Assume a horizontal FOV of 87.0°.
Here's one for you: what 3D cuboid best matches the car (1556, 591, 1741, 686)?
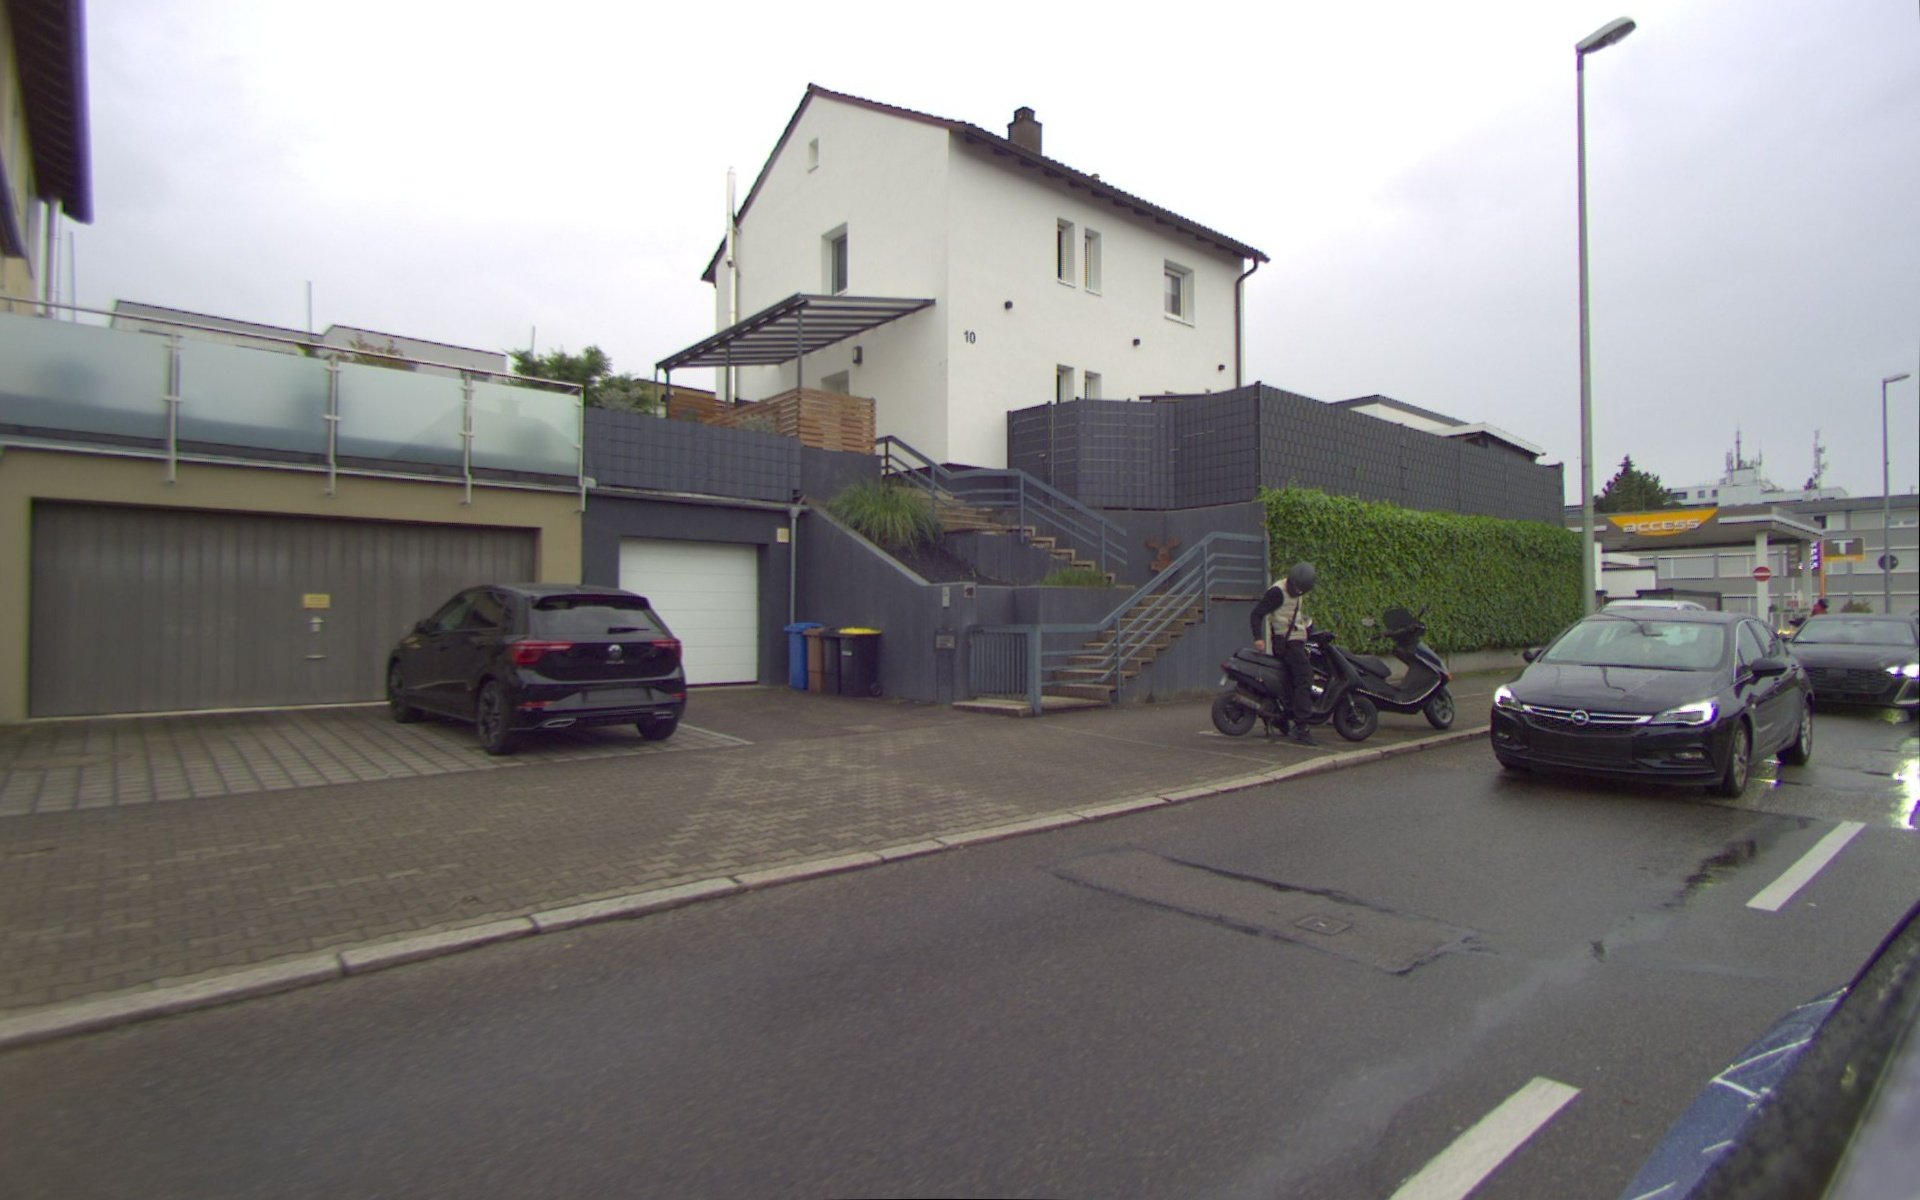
[{"bbox_3d":[12.615,0.628,18.438,4.455,1.529,1.703,0,-1,-41],"label":"car"}]

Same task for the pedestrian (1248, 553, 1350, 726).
[{"bbox_3d":[3.377,0.387,10.122,0.818,1.671,0.621,0,-1,5],"label":"pedestrian"}]

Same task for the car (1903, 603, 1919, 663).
[{"bbox_3d":[26.514,0.842,26.758,3.929,1.538,1.871,0,-1,-40],"label":"car"}]

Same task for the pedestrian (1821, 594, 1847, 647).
[{"bbox_3d":[28.410,0.663,32.918,0.582,1.677,0.603,-1,-1,39],"label":"pedestrian"}]

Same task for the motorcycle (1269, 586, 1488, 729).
[{"bbox_3d":[4.548,0.602,11.129,2.053,1.469,0.821,1,-1,6],"label":"motorcycle"}]

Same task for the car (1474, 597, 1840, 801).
[{"bbox_3d":[6.479,0.716,9.257,3.929,1.468,1.760,0,-1,-40],"label":"car"}]

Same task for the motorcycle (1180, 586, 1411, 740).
[{"bbox_3d":[3.301,0.605,10.128,2.052,1.469,0.758,0,-1,5],"label":"motorcycle"}]

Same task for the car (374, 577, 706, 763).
[{"bbox_3d":[-4.295,0.516,10.004,1.837,1.451,3.993,0,1,-42],"label":"car"}]

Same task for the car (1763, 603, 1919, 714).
[{"bbox_3d":[13.985,0.778,15.385,4.654,1.442,1.870,0,-1,-40],"label":"car"}]
